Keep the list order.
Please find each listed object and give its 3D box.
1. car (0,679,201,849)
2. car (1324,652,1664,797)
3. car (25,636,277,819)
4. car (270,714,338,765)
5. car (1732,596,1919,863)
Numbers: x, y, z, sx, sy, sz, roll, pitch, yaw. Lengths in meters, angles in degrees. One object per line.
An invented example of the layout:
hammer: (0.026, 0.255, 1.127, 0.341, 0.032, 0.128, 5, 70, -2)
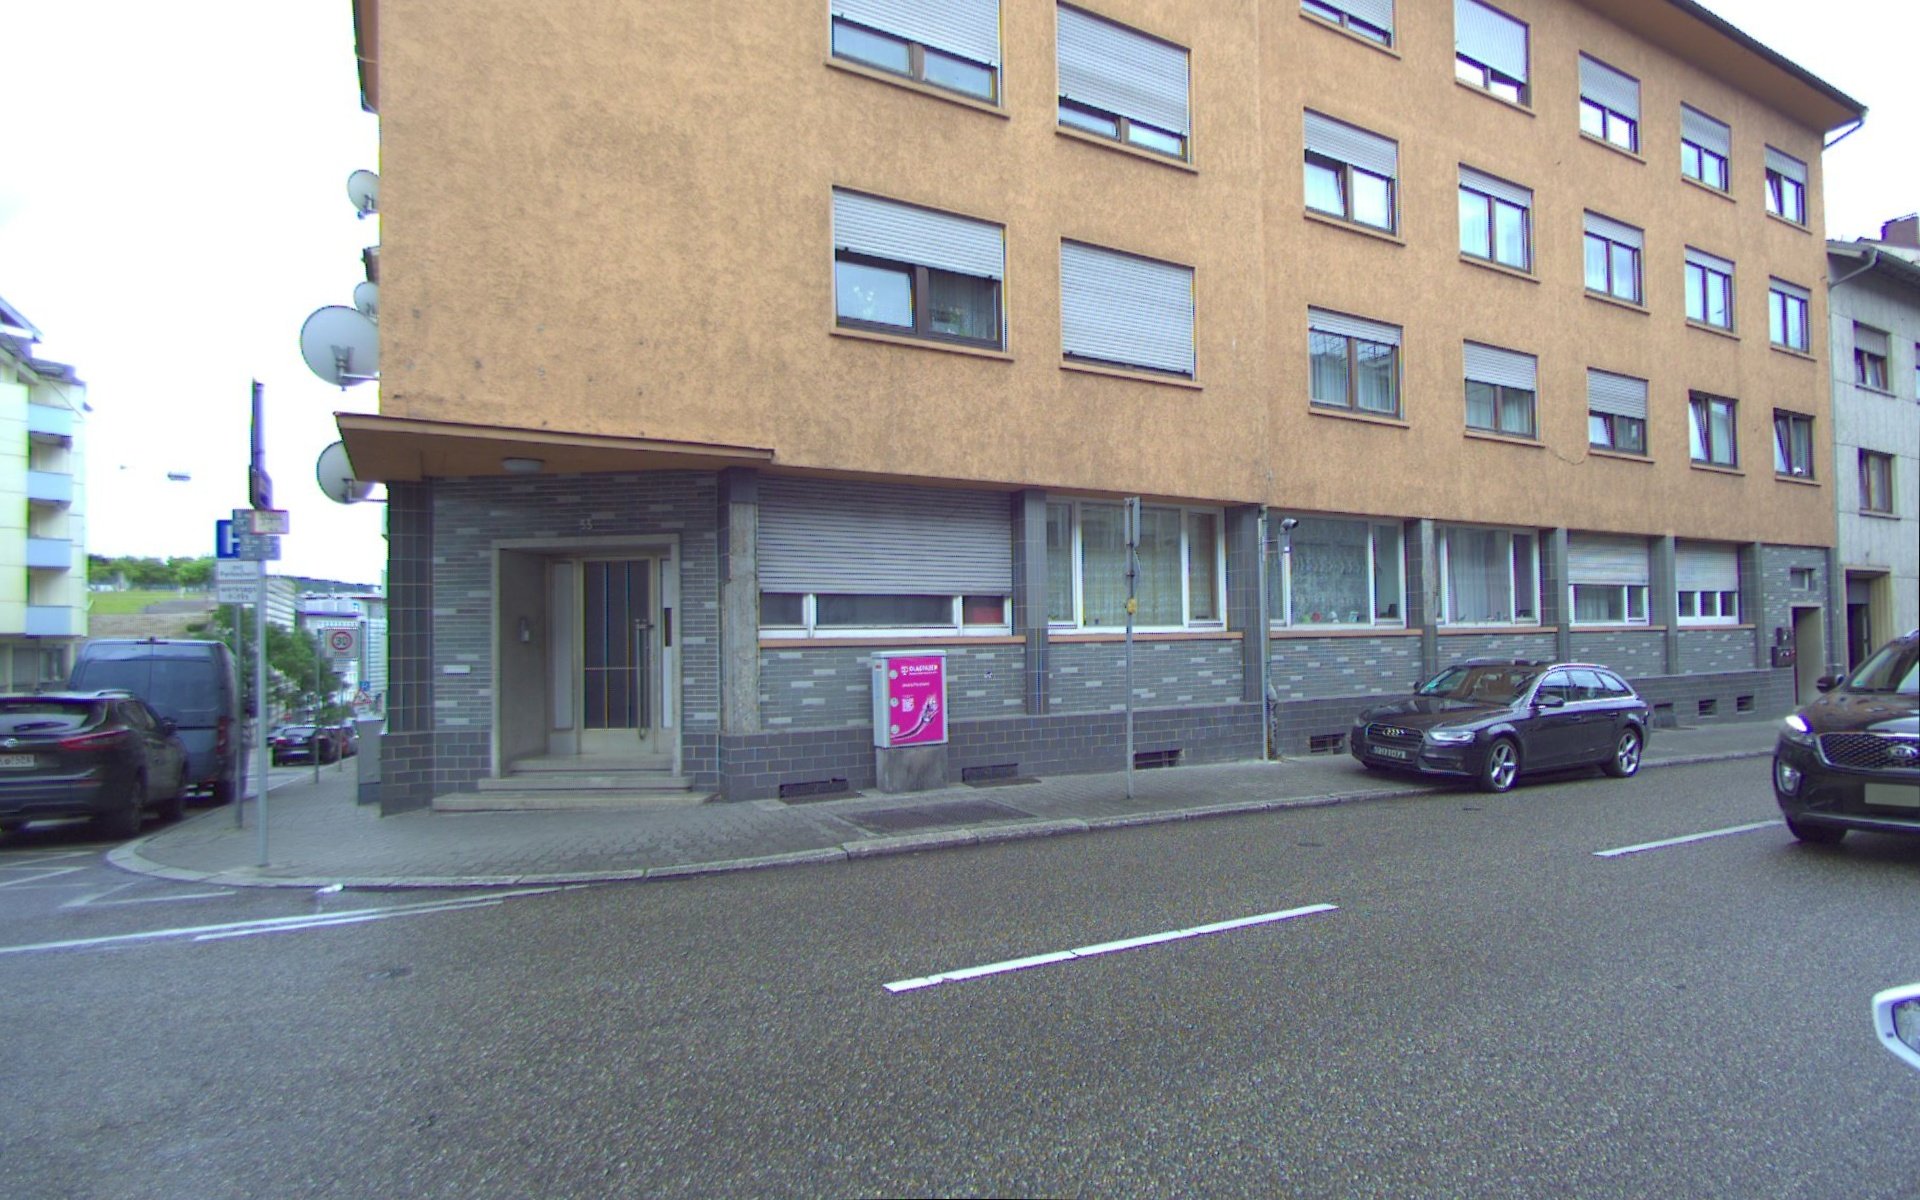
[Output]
car: (-10.145, 1.829, 11.420, 1.820, 1.596, 4.127, 1, -8, -29)
car: (6.903, 1.458, 12.866, 4.475, 1.457, 1.786, 1, 0, -31)
car: (-13.186, 2.087, 16.890, 2.223, 2.492, 6.017, 1, -7, -29)
car: (-24.428, 5.194, 37.524, 1.796, 1.696, 4.026, 1, -7, -29)
car: (8.173, 0.907, 7.820, 4.421, 1.749, 1.828, 1, -5, -30)
